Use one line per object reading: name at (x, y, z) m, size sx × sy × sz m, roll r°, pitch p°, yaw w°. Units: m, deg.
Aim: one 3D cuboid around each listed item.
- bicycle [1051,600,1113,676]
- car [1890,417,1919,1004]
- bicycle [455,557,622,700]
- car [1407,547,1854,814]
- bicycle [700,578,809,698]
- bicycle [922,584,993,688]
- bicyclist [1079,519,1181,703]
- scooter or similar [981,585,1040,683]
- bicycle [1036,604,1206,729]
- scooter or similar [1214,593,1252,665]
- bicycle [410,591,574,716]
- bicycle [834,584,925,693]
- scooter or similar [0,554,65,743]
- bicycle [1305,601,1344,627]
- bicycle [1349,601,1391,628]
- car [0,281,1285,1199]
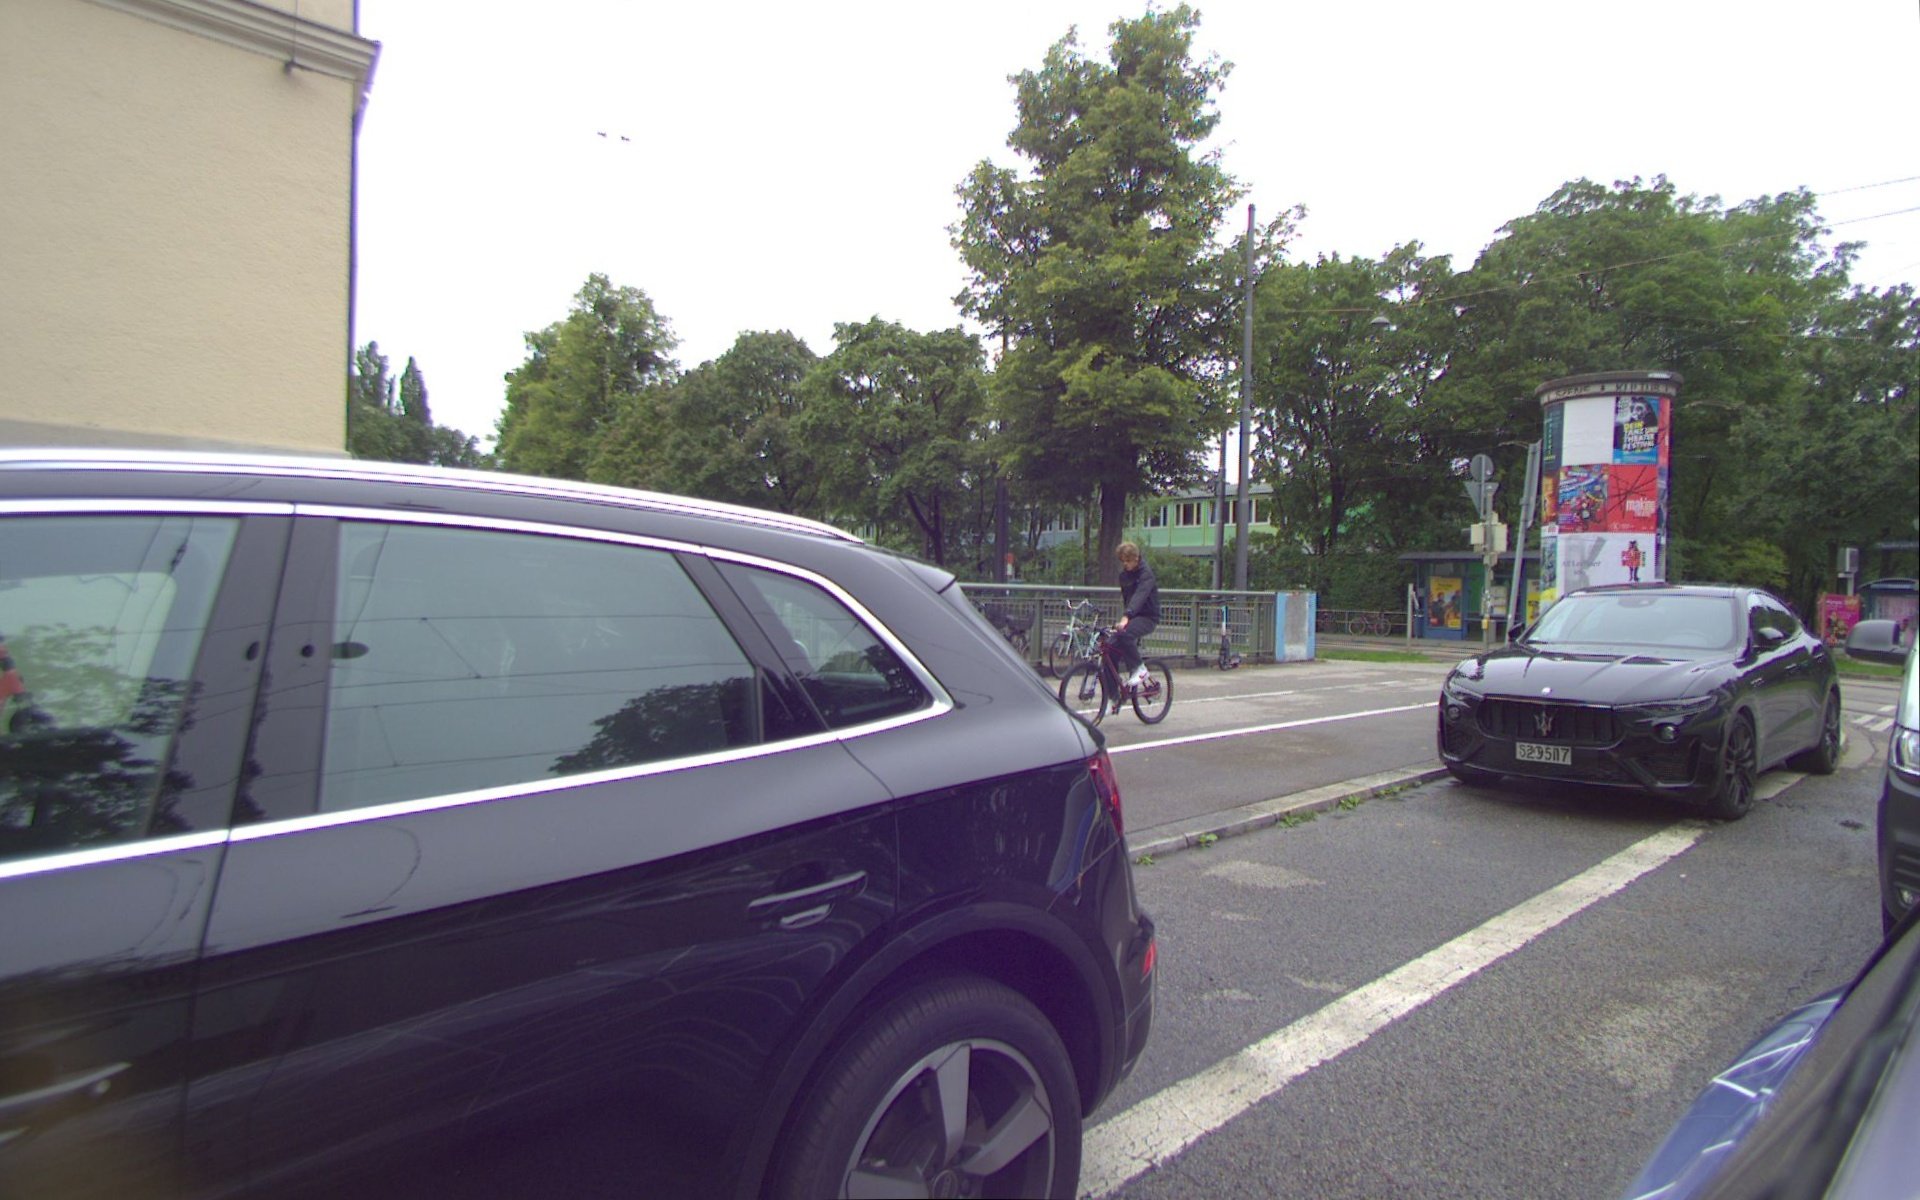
bicycle at (1.857, 0.545, 15.242) m, size 0.263 × 1.096 × 1.524 m, roll -1°, pitch -1°, yaw 34°
car at (6.052, 0.416, 4.823) m, size 5.612 × 2.078 × 1.901 m, roll 0°, pitch 1°, yaw -43°
bicycle at (-4.149, 0.268, 10.038) m, size 1.511 × 1.329 × 0.332 m, roll 0°, pitch -1°, yaw -42°
car at (5.728, 0.519, 8.396) m, size 4.582 × 1.630 × 1.904 m, roll 1°, pitch -1°, yaw -40°
bicycle at (-2.324, 0.412, 11.567) m, size 0.281 × 1.298 × 1.391 m, roll -1°, pitch -1°, yaw 38°
bicycle at (-0.015, 0.449, 13.361) m, size 0.280 × 1.298 × 1.395 m, roll -1°, pitch -1°, yaw 29°
bicyclist at (1.700, 0.105, 10.133) m, size 0.714 × 1.751 × 0.725 m, roll 0°, pitch -1°, yaw -41°
scooter or similar at (0.713, 0.449, 14.009) m, size 0.242 × 1.279 × 1.482 m, roll -1°, pitch 0°, yaw 27°
bicycle at (1.631, 0.609, 10.047) m, size 1.879 × 1.091 × 0.580 m, roll 0°, pitch 3°, yaw -42°
scooter or similar at (4.785, 0.494, 17.710) m, size 0.224 × 1.227 × 1.006 m, roll -1°, pitch -1°, yaw 40°
bicycle at (-4.436, 0.476, 9.673) m, size 0.286 × 1.120 × 1.421 m, roll 1°, pitch 0°, yaw 42°
bicycle at (-0.983, 0.455, 12.665) m, size 0.281 × 1.298 × 1.391 m, roll -1°, pitch -1°, yaw 38°
scooter or similar at (-7.024, 0.343, 7.084) m, size 1.122 × 1.329 × 0.261 m, roll 0°, pitch -1°, yaw -41°
bicycle at (14.336, 0.552, 39.826) m, size 0.366 × 0.964 × 1.483 m, roll 0°, pitch 1°, yaw -38°
bicycle at (15.457, 0.532, 38.203) m, size 0.366 × 0.964 × 1.483 m, roll 0°, pitch 1°, yaw -38°
car at (-1.443, 0.519, 1.745) m, size 4.408 × 1.679 × 1.778 m, roll 0°, pitch 0°, yaw -40°
